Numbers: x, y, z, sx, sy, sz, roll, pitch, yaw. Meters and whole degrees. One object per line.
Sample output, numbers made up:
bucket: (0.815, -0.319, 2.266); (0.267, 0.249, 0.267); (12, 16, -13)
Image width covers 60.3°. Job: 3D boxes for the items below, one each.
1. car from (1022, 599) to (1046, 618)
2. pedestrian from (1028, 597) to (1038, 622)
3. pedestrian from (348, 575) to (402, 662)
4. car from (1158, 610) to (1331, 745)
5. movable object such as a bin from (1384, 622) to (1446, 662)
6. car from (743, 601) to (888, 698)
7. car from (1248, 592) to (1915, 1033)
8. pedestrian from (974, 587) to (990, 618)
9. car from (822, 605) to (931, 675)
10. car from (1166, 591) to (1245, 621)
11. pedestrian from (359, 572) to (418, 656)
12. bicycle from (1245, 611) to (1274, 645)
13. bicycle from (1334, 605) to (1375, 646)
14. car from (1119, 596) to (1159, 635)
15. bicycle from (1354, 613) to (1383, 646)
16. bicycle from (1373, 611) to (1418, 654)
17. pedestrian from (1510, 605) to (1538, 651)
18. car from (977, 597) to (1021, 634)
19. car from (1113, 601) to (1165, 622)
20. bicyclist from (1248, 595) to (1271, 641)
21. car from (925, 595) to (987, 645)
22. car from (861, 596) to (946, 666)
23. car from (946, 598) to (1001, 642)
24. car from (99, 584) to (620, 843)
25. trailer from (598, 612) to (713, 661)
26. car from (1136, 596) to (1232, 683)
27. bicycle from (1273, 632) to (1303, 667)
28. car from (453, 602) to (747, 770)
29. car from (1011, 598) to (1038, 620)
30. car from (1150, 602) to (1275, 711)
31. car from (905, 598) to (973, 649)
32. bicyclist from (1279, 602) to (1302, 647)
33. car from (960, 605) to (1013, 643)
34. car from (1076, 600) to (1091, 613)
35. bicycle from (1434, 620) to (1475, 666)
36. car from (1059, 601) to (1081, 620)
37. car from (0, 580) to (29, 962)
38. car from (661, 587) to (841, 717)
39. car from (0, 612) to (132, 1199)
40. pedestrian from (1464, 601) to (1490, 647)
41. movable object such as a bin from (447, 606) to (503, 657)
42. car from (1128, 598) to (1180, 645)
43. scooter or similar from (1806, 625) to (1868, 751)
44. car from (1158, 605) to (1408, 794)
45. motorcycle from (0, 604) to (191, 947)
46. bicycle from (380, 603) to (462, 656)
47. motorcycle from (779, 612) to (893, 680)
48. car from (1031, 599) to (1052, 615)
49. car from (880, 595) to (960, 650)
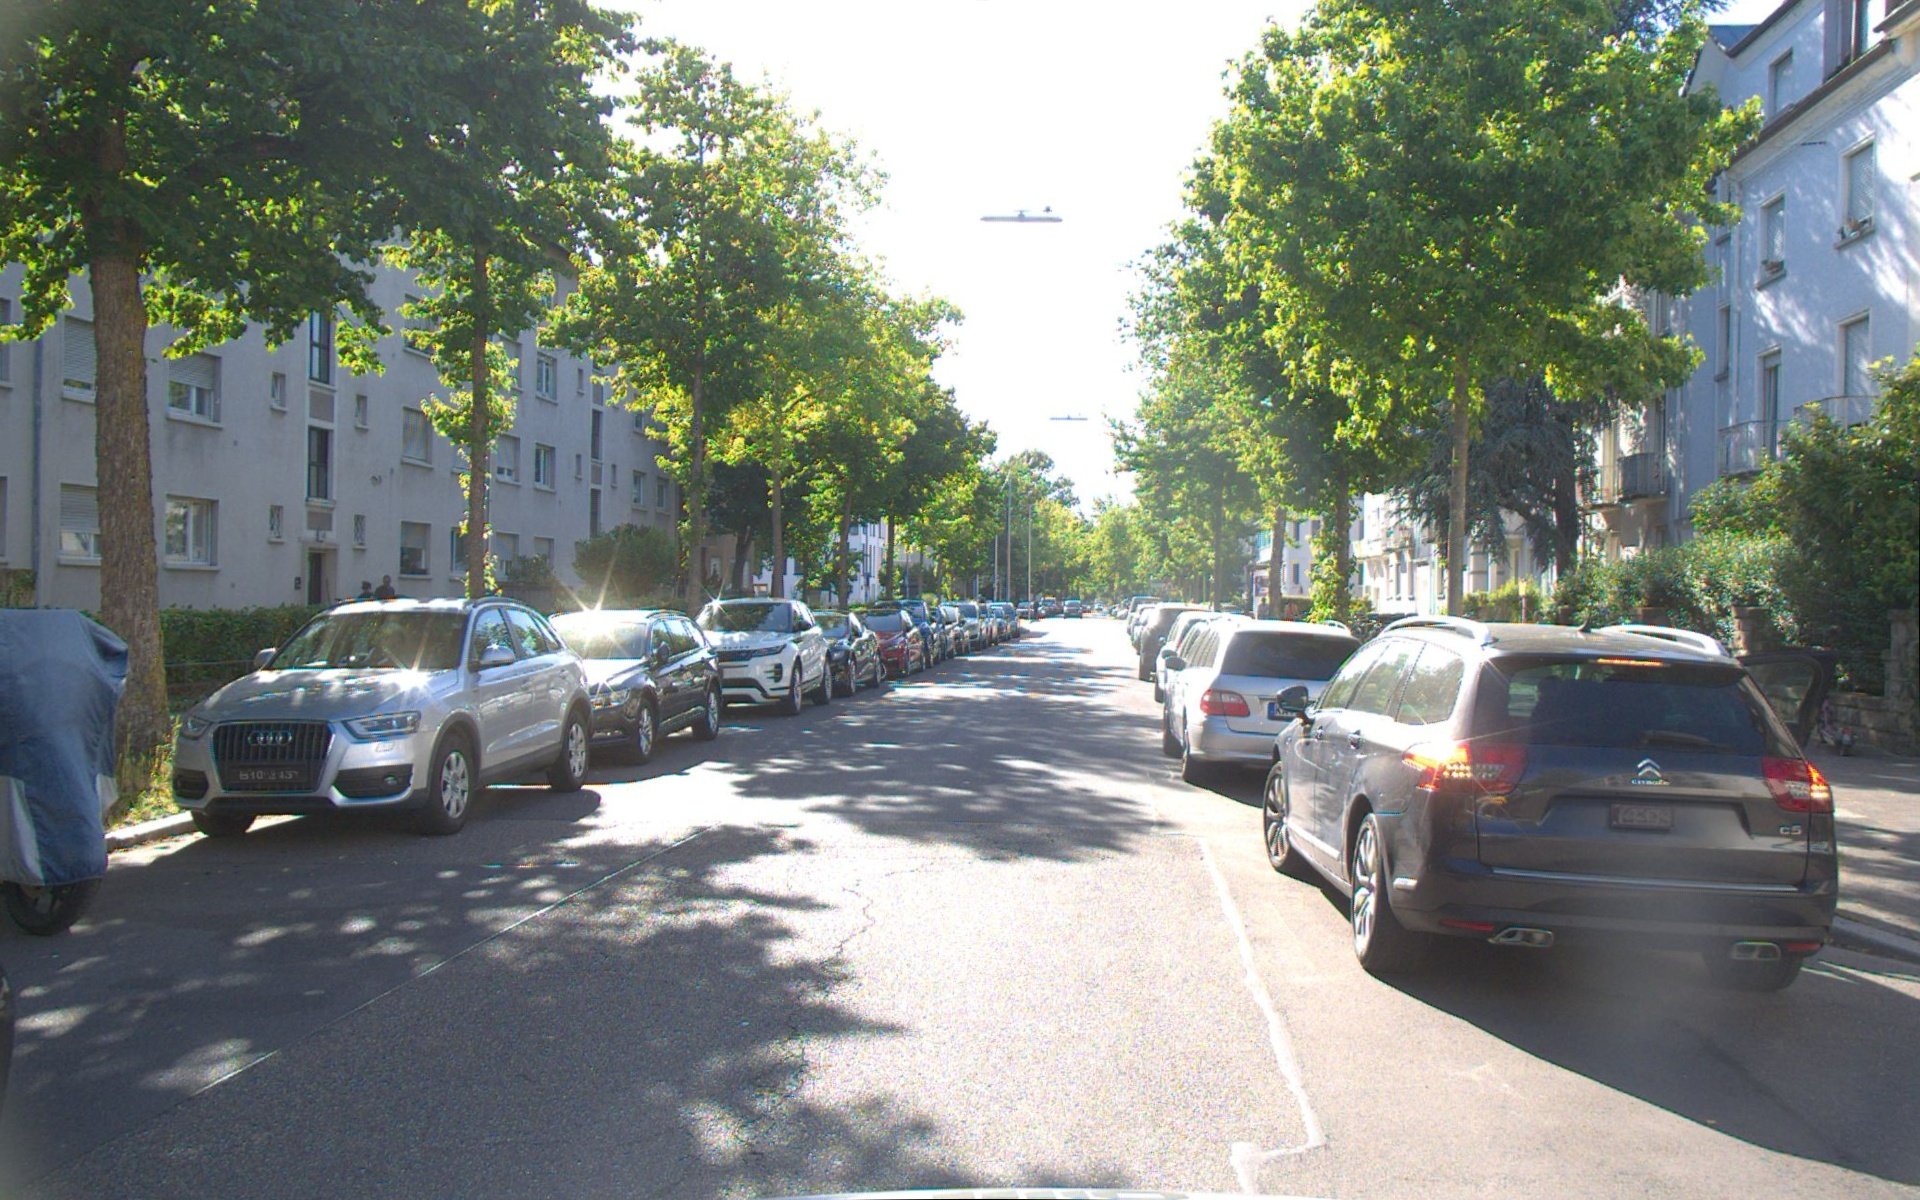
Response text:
car: (6.541, 0.748, 146.353); (1.951, 1.613, 4.003); (0, 0, 5)
pedestrian: (5.684, 0.705, 128.629); (0.701, 1.933, 0.836); (0, 0, -4)
pedestrian: (-13.258, 0.414, 37.502); (0.767, 1.947, 0.876); (0, 0, 32)
car: (3.538, 0.893, 21.327); (1.675, 1.435, 4.864); (2, 0, 4)
movable object such as a bin: (11.252, 1.017, 40.855); (1.197, 0.920, 1.663); (0, 0, 26)
car: (-2.484, 0.820, 29.469); (1.692, 1.503, 4.622); (-3, 0, 6)
car: (2.697, 0.800, 8.529); (1.856, 1.551, 4.969); (1, -1, 4)
pedestrian: (1.478, 0.155, 108.992); (0.841, 2.049, 0.982); (0, 0, 14)
car: (-1.776, 0.829, 36.358); (1.742, 1.403, 4.265); (-1, 0, 6)
car: (16.304, 0.383, 109.898); (5.014, 1.854, 1.981); (2, 0, -29)
pedestrian: (-13.341, 0.314, 38.621); (0.913, 1.921, 1.027); (0, 0, 8)
bicycle: (10.668, 0.998, 58.979); (0.669, 1.173, 2.404); (0, 0, 2)
bicycle: (12.660, 0.808, 53.155); (0.821, 1.279, 2.232); (1, 0, 2)
car: (9.329, 0.799, 86.569); (1.929, 1.983, 4.988); (1, 0, 5)
bicycle: (12.524, 0.907, 50.755); (0.583, 0.974, 1.904); (0, 0, 5)
bicycle: (12.147, 0.901, 46.219); (0.787, 1.135, 2.001); (1, 0, 3)
pedestrian: (14.623, 0.723, 42.879); (0.499, 1.162, 0.756); (1, 0, 4)
car: (1.850, 0.707, 77.026); (1.801, 1.623, 4.264); (-1, 0, 5)
car: (13.812, 0.878, 127.827); (3.904, 1.615, 1.727); (0, 0, 1)
bicyclist: (10.674, 0.633, 59.008); (0.663, 1.638, 0.922); (0, 0, 2)
car: (-0.091, 0.667, 56.827); (1.773, 1.624, 4.235); (0, 0, 5)
car: (-1.368, 0.741, 41.532); (1.752, 1.594, 4.467); (-2, 0, 2)
car: (0.534, 0.720, 62.292); (1.674, 1.571, 3.933); (-1, 0, 6)
car: (-4.157, 0.681, 12.448); (2.021, 1.551, 4.723); (1, 0, 2)
trailer: (-7.131, 0.837, 39.006); (1.751, 1.052, 3.284); (1, 0, 7)
car: (4.913, 0.802, 36.583); (1.885, 1.680, 5.099); (3, 0, 7)
bicycle: (11.628, 1.731, 58.711); (0.669, 1.173, 2.404); (0, 0, 2)
car: (-3.627, 0.800, 17.609); (1.692, 1.472, 4.823); (-2, 0, 5)
car: (5.125, 0.716, 131.121); (1.951, 1.700, 4.003); (0, 0, 5)
car: (4.051, 0.859, 27.034); (1.619, 1.559, 3.971); (3, 0, 4)
car: (-0.598, 0.704, 51.205); (1.725, 1.469, 3.911); (-1, 0, 5)
bicyclist: (11.704, 0.875, 58.604); (0.662, 1.580, 1.022); (0, 0, 2)
car: (1.160, 1.007, 70.988); (1.951, 1.478, 4.264); (-2, 0, 5)
car: (15.410, 0.771, 206.411); (1.855, 1.588, 4.002); (0, 0, 5)
bicycle: (11.158, 0.957, 37.339); (0.569, 0.992, 1.905); (0, 0, 7)
car: (9.815, 0.907, 147.285); (1.746, 1.637, 4.000); (0, 0, 1)
car: (-5.130, 0.730, 4.693); (1.999, 1.550, 4.610); (0, 1, 6)
car: (-2.941, 0.696, 24.143); (1.692, 1.646, 4.368); (-3, 0, 4)
car: (-2.937, 0.775, 1.645); (1.771, 1.471, 4.368); (-1, 0, 4)
pedestrian: (13.341, 0.620, 42.667); (0.498, 1.162, 0.756); (1, 0, 7)
movable object such as a bin: (-10.257, 0.657, 35.013); (0.864, 1.052, 0.844); (0, 0, 7)
car: (7.742, 0.831, 66.215); (1.867, 1.728, 4.316); (3, 0, 5)
scooter or similar: (8.966, 0.877, 16.927); (0.393, 1.205, 1.206); (0, 1, 20)
car: (3.006, 0.840, 16.362); (1.783, 1.495, 4.912); (2, 0, 4)
motorcycle: (-4.671, 0.787, 8.499); (0.978, 1.530, 2.207); (0, 0, -34)
bicycle: (-12.267, 0.665, 37.725); (0.502, 1.173, 1.952); (1, 0, 28)
motorcycle: (-2.477, 0.912, 33.113); (2.241, 1.293, 0.807); (-1, 0, -5)
car: (8.268, 0.703, 168.088); (1.951, 1.613, 4.003); (0, 0, 5)
car: (-1.088, 0.606, 46.481); (1.791, 1.478, 4.125); (0, 0, 5)
